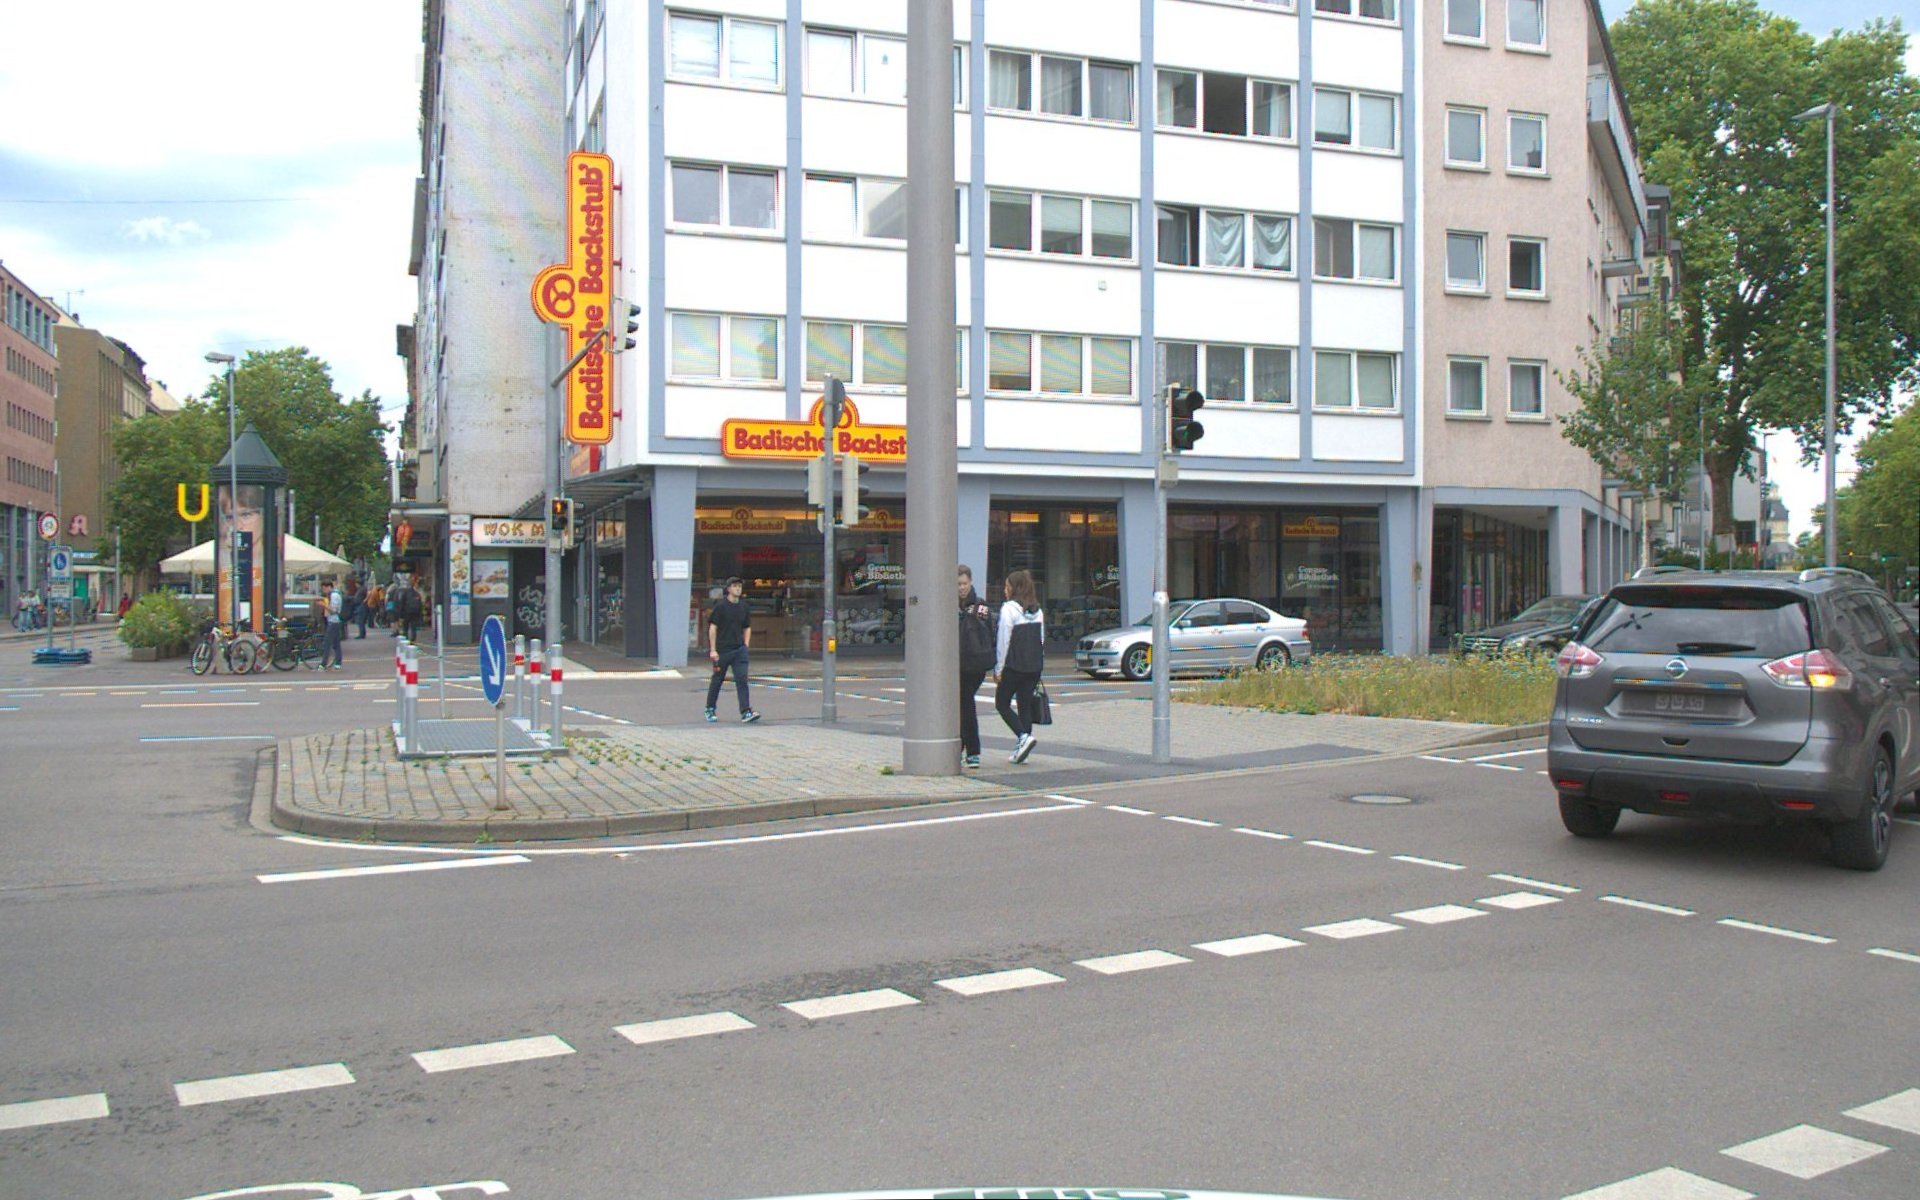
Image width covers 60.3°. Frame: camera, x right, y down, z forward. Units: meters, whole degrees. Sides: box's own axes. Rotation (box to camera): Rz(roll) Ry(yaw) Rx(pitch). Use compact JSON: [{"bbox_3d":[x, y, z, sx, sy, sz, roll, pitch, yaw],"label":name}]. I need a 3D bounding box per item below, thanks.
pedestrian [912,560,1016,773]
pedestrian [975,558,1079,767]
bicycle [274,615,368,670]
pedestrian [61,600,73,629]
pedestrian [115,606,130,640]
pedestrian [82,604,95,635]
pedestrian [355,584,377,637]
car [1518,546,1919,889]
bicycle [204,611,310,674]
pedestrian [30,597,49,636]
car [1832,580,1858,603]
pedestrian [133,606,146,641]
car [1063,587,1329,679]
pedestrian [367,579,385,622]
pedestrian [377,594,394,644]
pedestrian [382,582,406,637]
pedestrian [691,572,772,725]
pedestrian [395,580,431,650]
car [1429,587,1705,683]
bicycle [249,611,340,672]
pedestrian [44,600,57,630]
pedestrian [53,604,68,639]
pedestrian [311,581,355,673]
[{"bbox_3d":[0.028,0.562,14.393,0.614,1.792,0.773,1,-1,-27],"label":"pedestrian"},{"bbox_3d":[0.584,0.539,14.676,0.614,1.792,0.773,1,-1,-27],"label":"pedestrian"},{"bbox_3d":[-12.697,0.843,32.903,1.666,1.084,0.436,1,-1,-13],"label":"bicycle"},{"bbox_3d":[-53.235,0.876,98.621,0.593,1.744,0.650,1,-1,-26],"label":"pedestrian"},{"bbox_3d":[-42.150,1.155,83.243,0.593,1.744,0.650,1,-1,-26],"label":"pedestrian"},{"bbox_3d":[-49.923,1.103,94.750,0.593,1.744,0.650,1,-1,-26],"label":"pedestrian"},{"bbox_3d":[-19.490,0.345,54.243,0.633,1.735,0.556,1,-1,-18],"label":"pedestrian"},{"bbox_3d":[5.480,0.573,11.033,1.835,1.805,4.543,1,1,40],"label":"car"},{"bbox_3d":[-13.795,0.827,32.494,1.850,1.192,0.525,1,-1,-34],"label":"bicycle"},{"bbox_3d":[-36.683,0.663,65.913,0.593,1.563,0.650,1,-1,-26],"label":"pedestrian"},{"bbox_3d":[72.839,-0.725,136.149,1.827,1.805,3.978,1,1,28],"label":"car"},{"bbox_3d":[-41.457,1.166,83.577,0.593,1.744,0.650,1,-1,-26],"label":"pedestrian"},{"bbox_3d":[4.246,0.557,29.741,4.488,1.507,1.737,-1,0,-22],"label":"car"},{"bbox_3d":[-23.506,0.020,66.575,0.602,1.735,0.616,1,-1,-18],"label":"pedestrian"},{"bbox_3d":[-20.346,0.667,58.587,0.547,1.735,0.516,1,-1,-18],"label":"pedestrian"},{"bbox_3d":[-19.180,0.312,56.059,0.727,1.853,0.658,0,0,-22],"label":"pedestrian"},{"bbox_3d":[-2.859,0.591,20.673,0.704,1.864,1.008,1,-1,-27],"label":"pedestrian"},{"bbox_3d":[-13.741,0.365,41.581,0.696,1.735,0.733,1,-1,-7],"label":"pedestrian"},{"bbox_3d":[10.494,0.569,28.587,4.488,1.507,1.737,-1,0,-22],"label":"car"},{"bbox_3d":[-13.414,0.836,33.350,1.675,1.192,0.433,1,-1,-27],"label":"bicycle"},{"bbox_3d":[-54.059,0.882,98.287,0.593,1.744,0.650,1,-1,-26],"label":"pedestrian"},{"bbox_3d":[-46.296,1.105,85.131,0.593,1.744,0.650,1,-1,-26],"label":"pedestrian"},{"bbox_3d":[-12.391,0.530,32.677,0.723,1.776,0.657,1,-1,-27],"label":"pedestrian"}]
